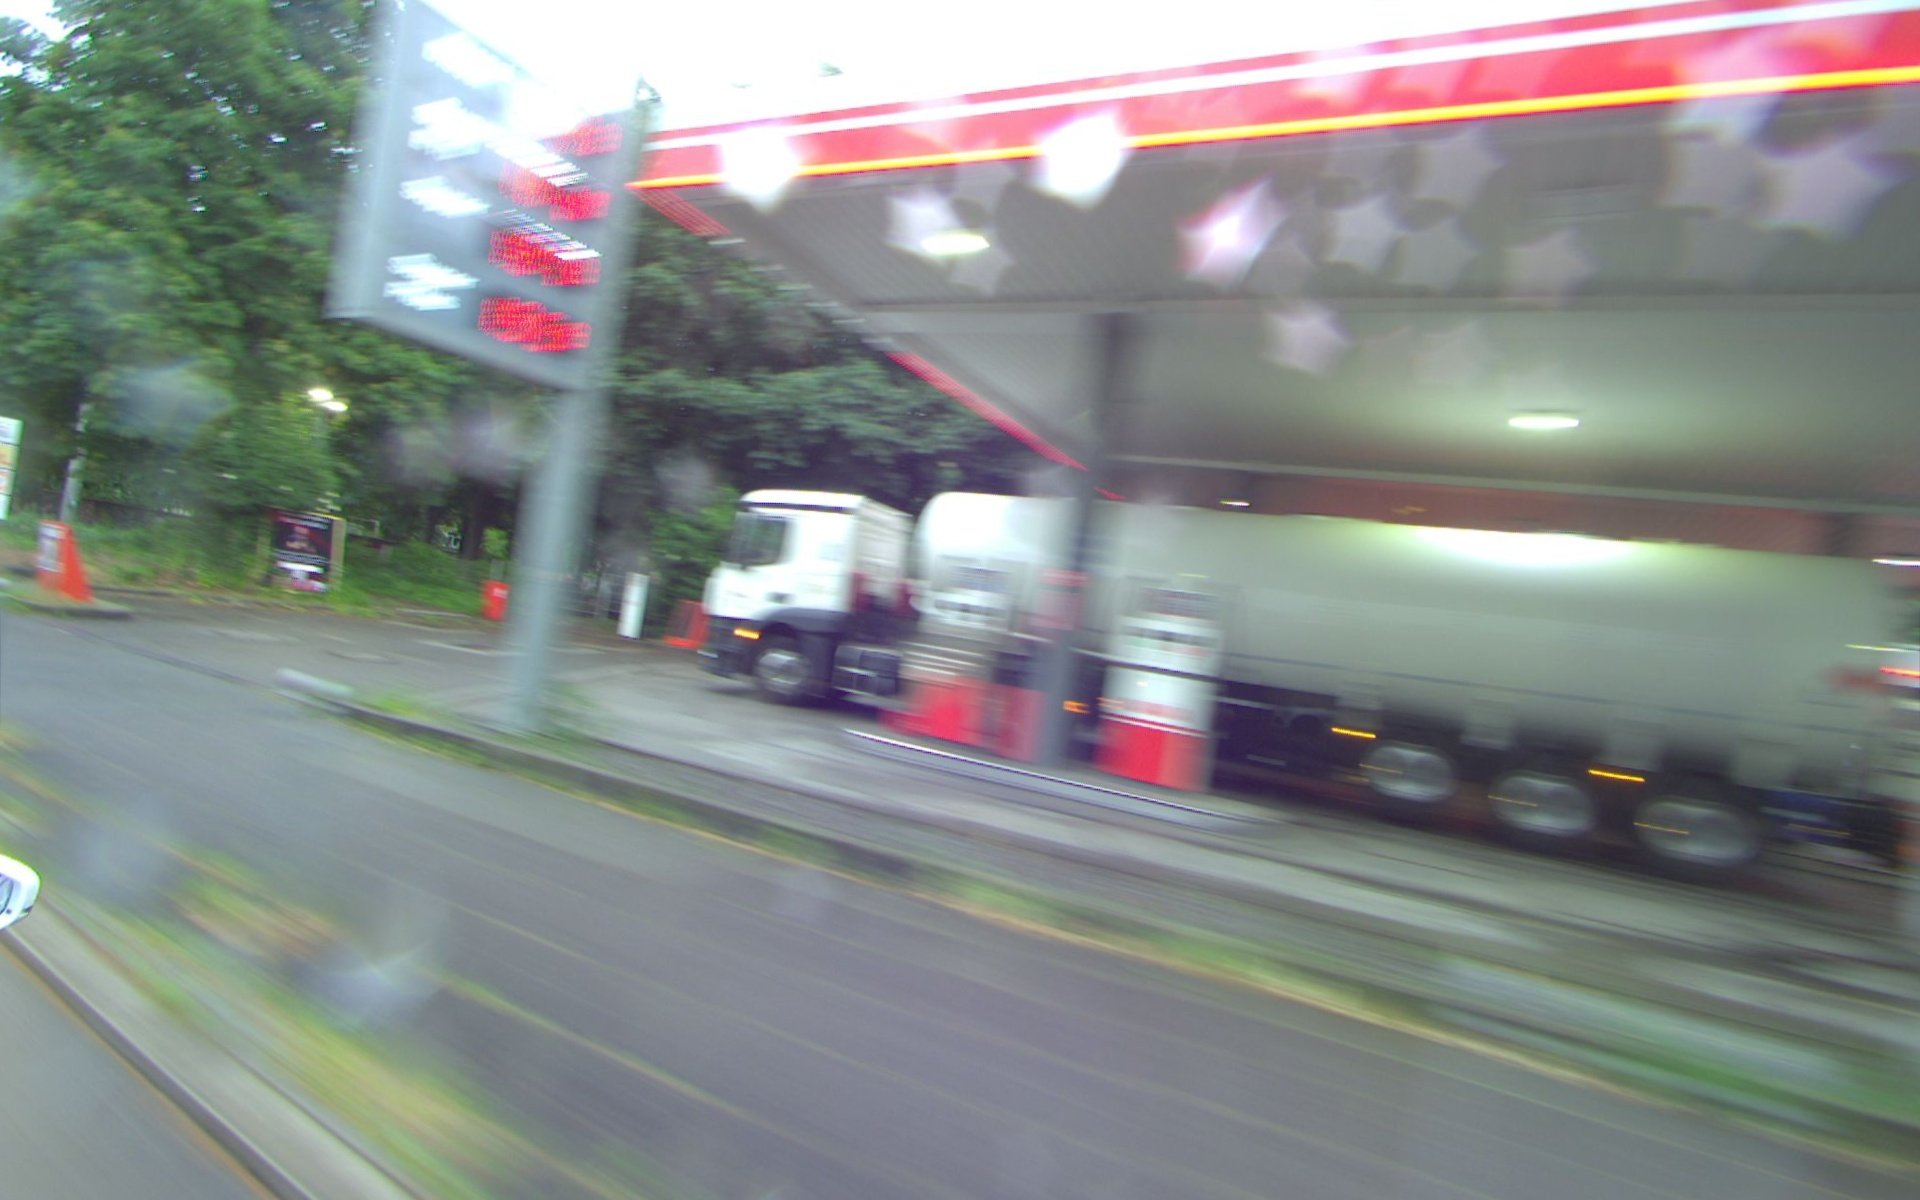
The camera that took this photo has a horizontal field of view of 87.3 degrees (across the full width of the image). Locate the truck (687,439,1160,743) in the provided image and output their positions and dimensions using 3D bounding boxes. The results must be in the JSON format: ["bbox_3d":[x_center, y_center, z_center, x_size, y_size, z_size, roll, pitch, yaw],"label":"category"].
[{"bbox_3d":[-0.485,-0.192,14.866,6.012,3.440,2.838,7,0,21],"label":"truck"}]

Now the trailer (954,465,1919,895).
[{"bbox_3d":[5.032,0.542,12.314,9.661,3.436,2.813,7,-1,26],"label":"trailer"}]
